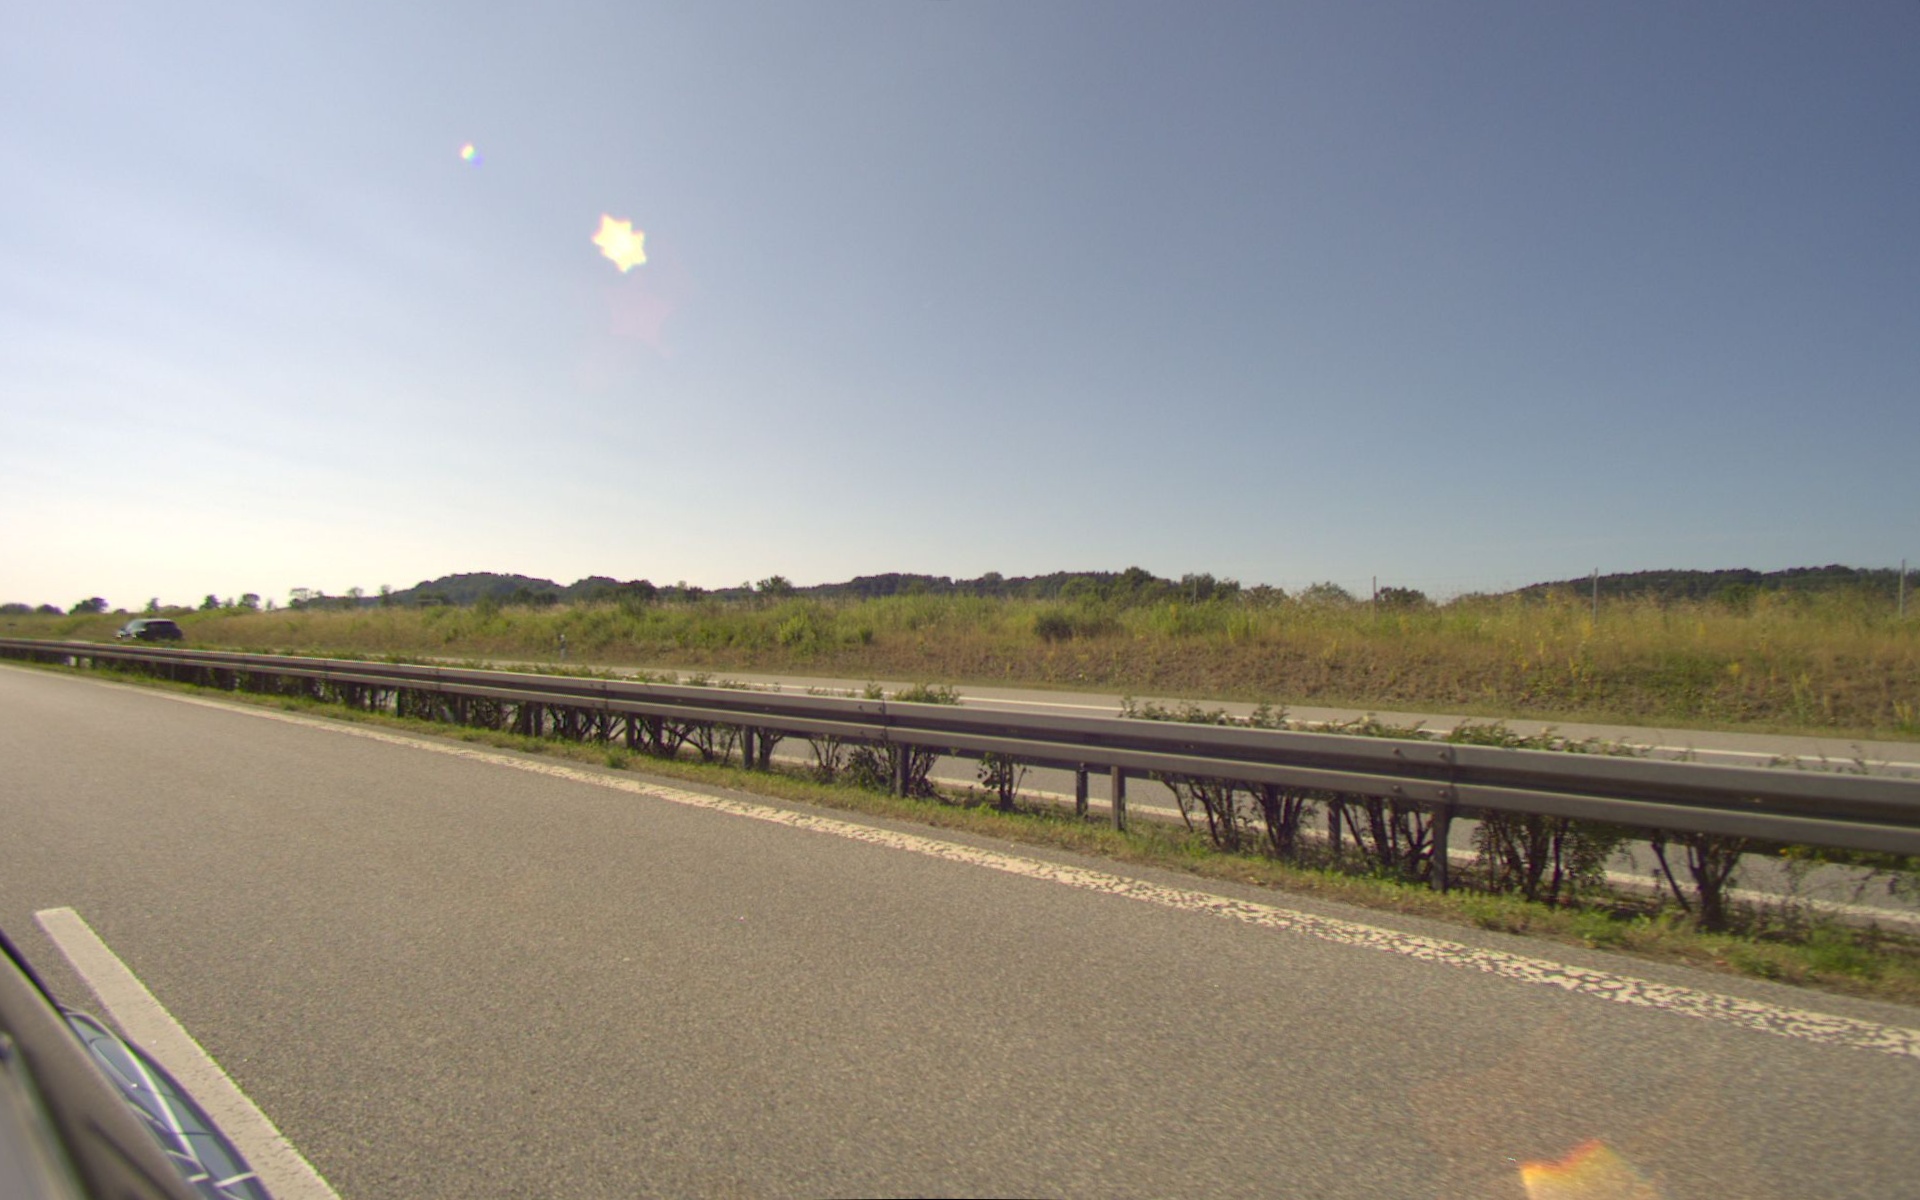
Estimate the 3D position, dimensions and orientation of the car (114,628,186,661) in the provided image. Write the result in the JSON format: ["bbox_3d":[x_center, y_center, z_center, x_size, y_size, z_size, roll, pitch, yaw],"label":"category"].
[{"bbox_3d":[-40.519,2.206,50.601,4.459,1.564,1.814,-2,-2,38],"label":"car"}]
